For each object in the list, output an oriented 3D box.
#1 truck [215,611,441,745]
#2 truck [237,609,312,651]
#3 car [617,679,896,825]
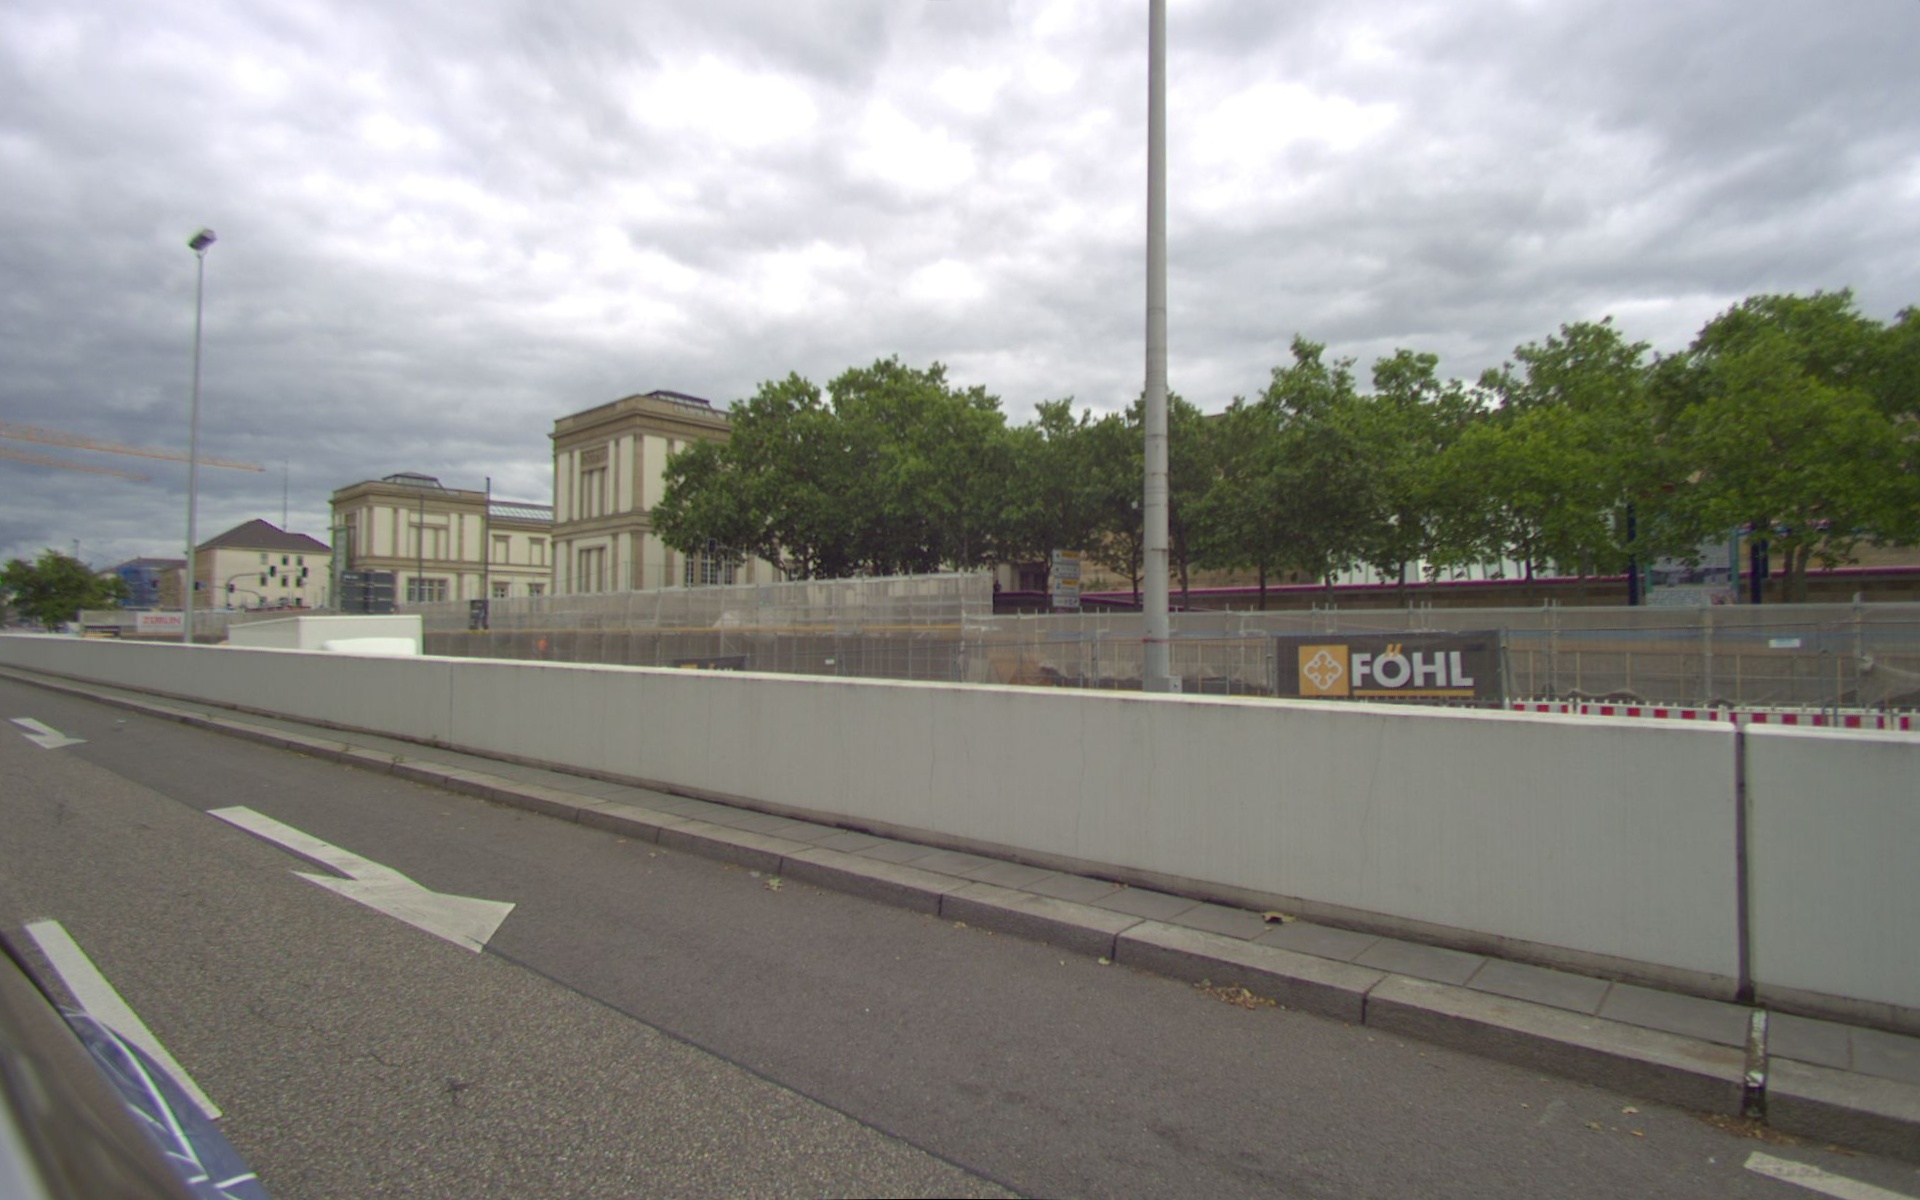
[{"bbox_3d":[-14.951,1.795,23.745,6.669,2.733,2.576,-4,-5,40],"label":"truck"},{"bbox_3d":[-74.533,3.375,109.803,16.612,4.114,2.885,-3,-5,43],"label":"truck"},{"bbox_3d":[-3.051,2.069,14.811,3.998,1.654,1.973,-1,-3,41],"label":"car"}]
